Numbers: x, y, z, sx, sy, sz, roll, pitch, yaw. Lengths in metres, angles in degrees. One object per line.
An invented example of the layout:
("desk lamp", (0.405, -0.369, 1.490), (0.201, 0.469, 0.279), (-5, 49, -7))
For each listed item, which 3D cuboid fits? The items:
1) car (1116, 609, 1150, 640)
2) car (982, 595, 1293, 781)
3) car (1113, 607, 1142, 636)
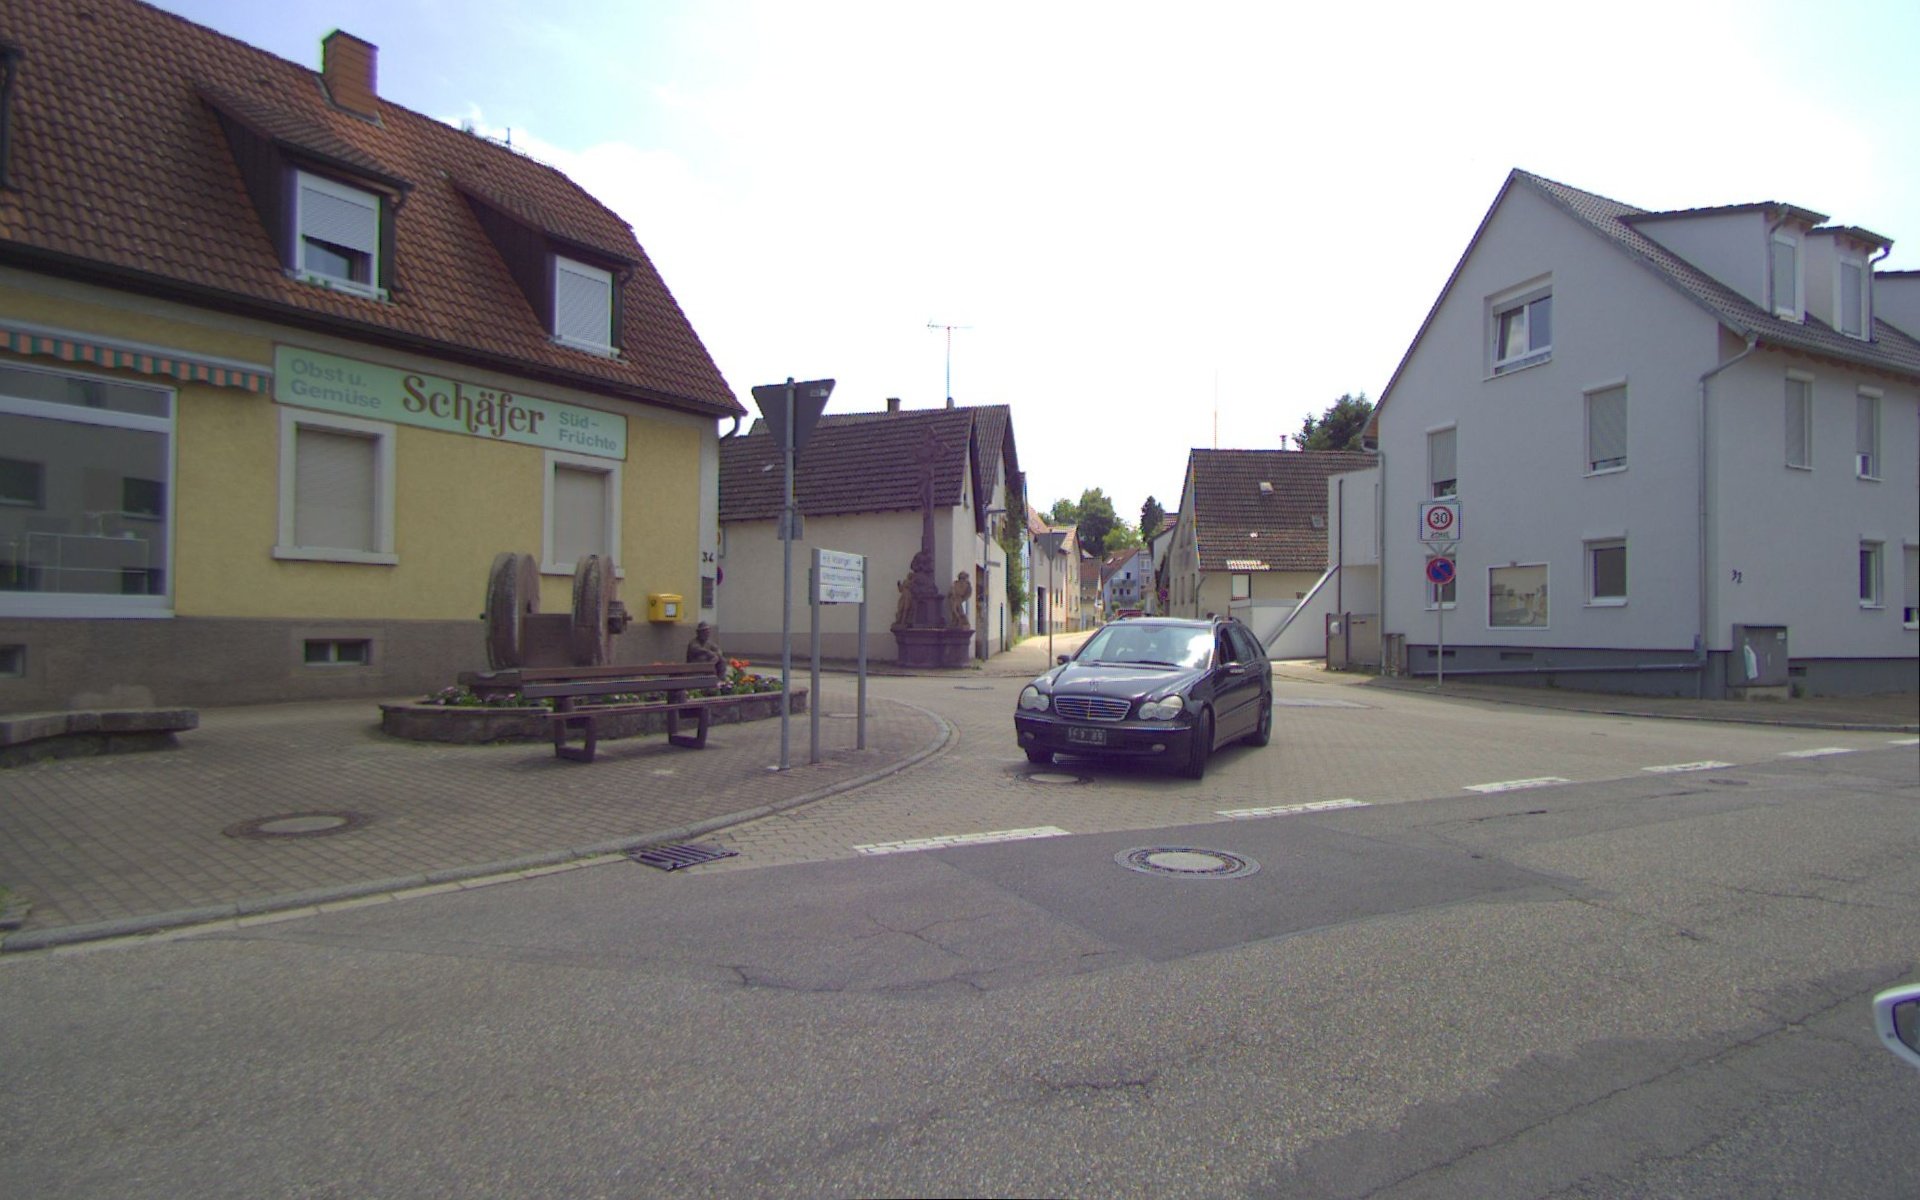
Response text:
("car", (9.451, 1.352, 54.992), (1.461, 1.550, 3.478), (2, -2, 4))
("car", (2.092, 0.798, 10.402), (1.781, 1.430, 4.630), (2, -2, 28))
("car", (10.072, 1.314, 60.489), (1.369, 1.656, 3.478), (2, -2, 4))
